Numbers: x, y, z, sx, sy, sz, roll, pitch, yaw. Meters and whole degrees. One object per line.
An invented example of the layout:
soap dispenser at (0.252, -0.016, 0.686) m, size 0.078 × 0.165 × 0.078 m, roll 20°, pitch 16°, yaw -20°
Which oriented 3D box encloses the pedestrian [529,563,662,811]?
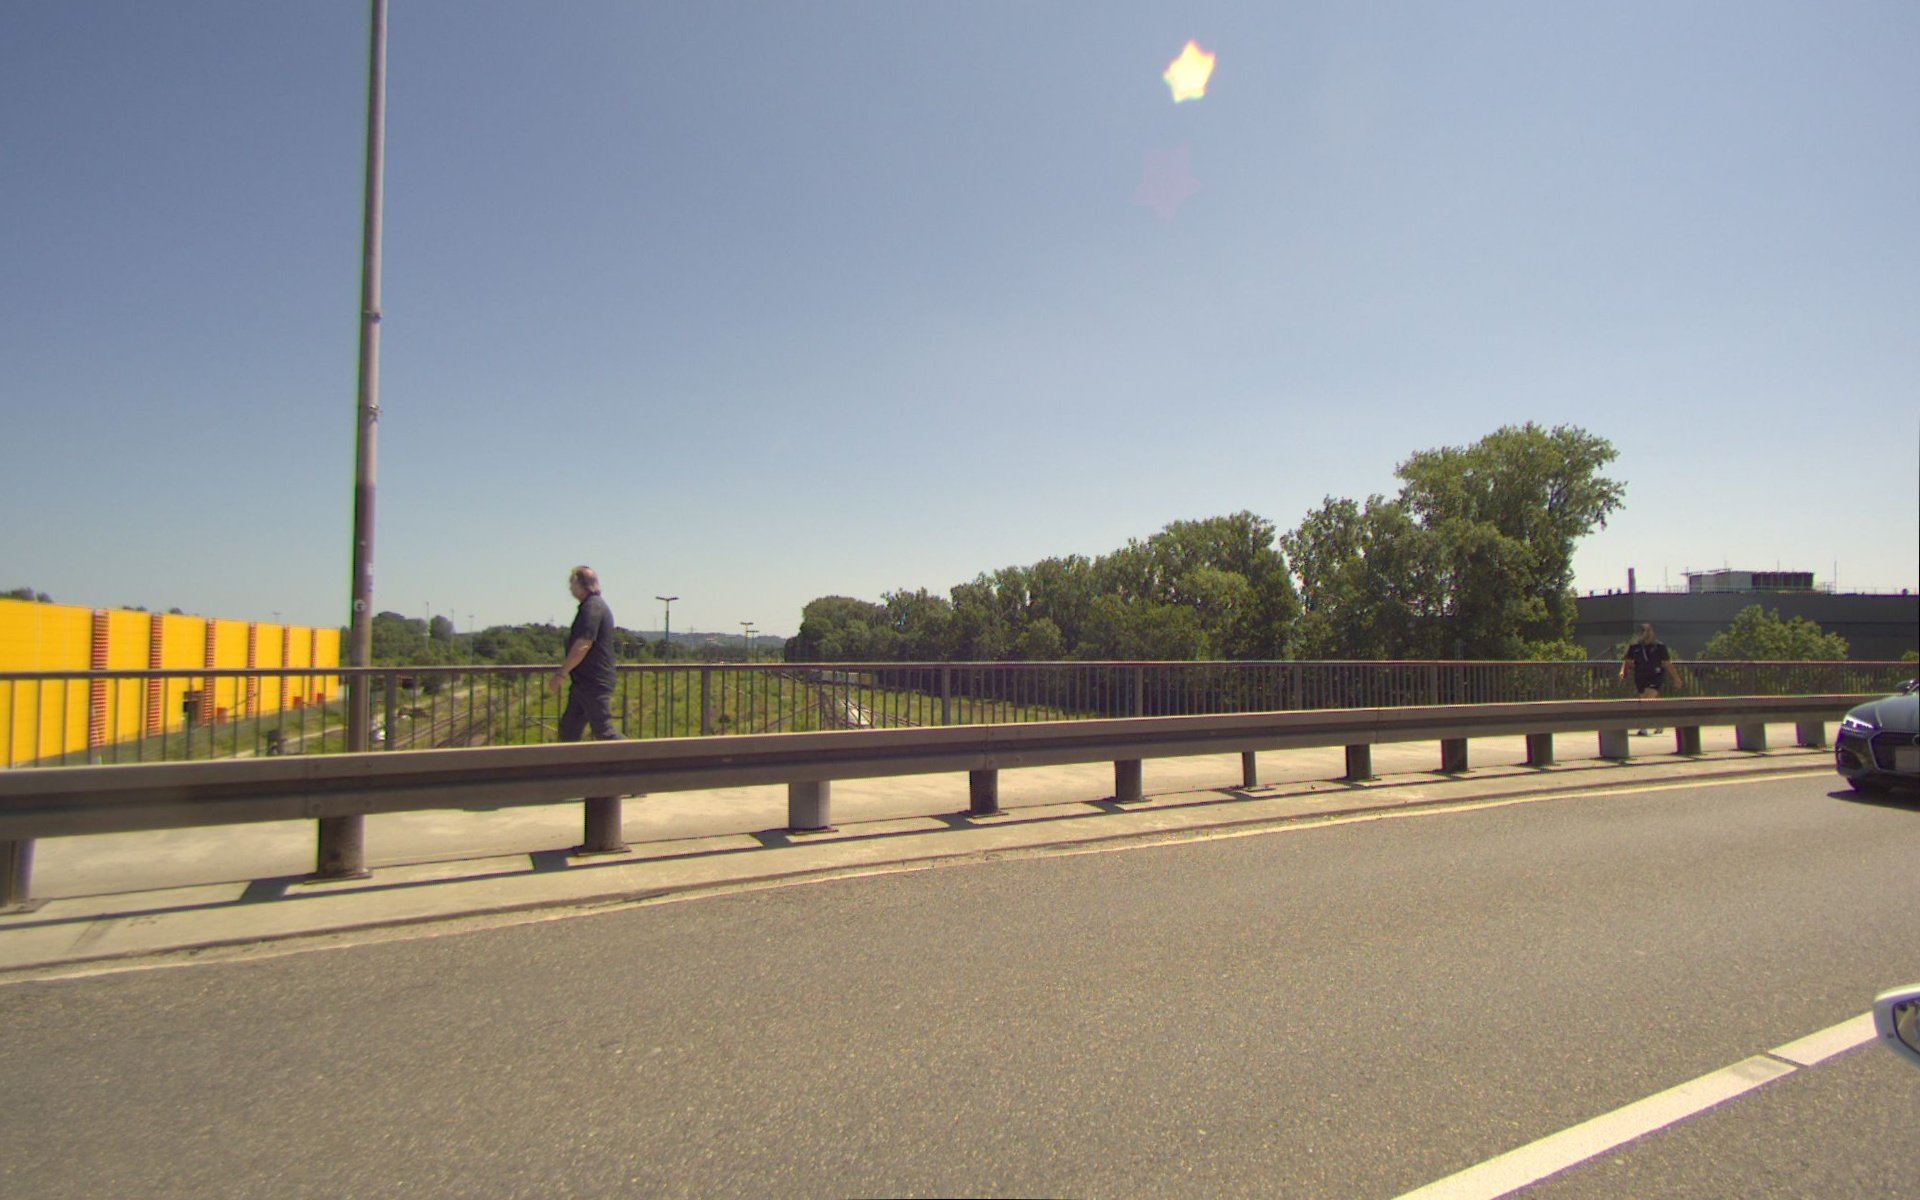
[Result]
pedestrian at (-2.830, 0.644, 7.797) m, size 0.803 × 1.806 × 0.634 m, roll 2°, pitch 0°, yaw -32°

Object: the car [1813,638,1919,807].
car at (10.302, 1.136, 9.430) m, size 4.513 × 1.434 × 1.785 m, roll 2°, pitch -2°, yaw -25°

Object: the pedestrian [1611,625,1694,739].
pedestrian at (9.941, 1.165, 14.432) m, size 0.685 × 1.582 × 0.713 m, roll 2°, pitch -3°, yaw -23°
